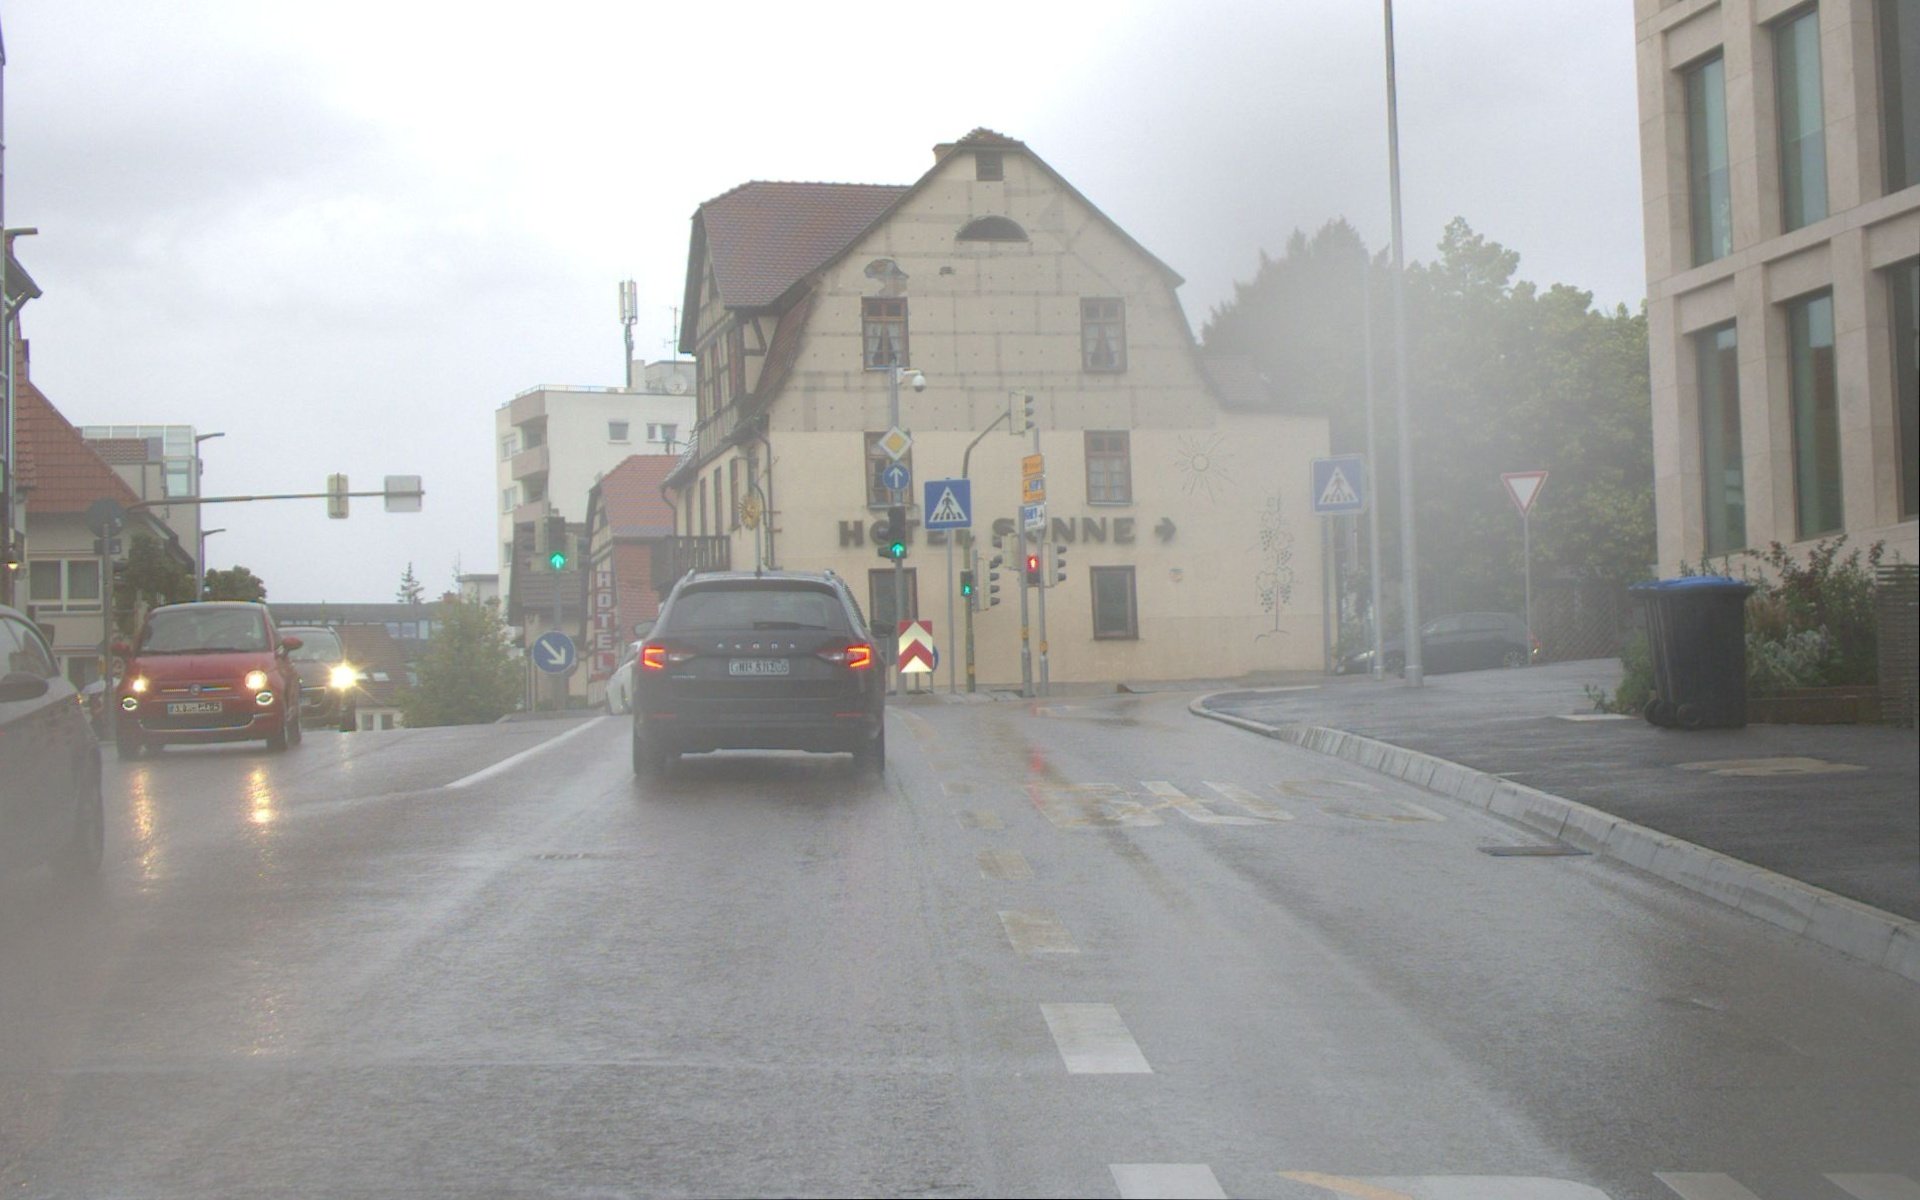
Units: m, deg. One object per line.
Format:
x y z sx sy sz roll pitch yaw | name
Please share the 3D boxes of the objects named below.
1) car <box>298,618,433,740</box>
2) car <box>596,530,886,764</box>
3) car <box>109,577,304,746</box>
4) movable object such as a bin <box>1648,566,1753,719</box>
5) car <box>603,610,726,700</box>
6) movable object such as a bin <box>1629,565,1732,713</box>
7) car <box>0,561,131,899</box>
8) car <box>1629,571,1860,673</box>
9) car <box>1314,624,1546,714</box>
-8.650 1.120 50.274 1.781 1.624 4.217 -1 0 -8 | car
-1.599 0.290 25.538 1.944 1.561 4.418 -1 1 -3 | car
-7.453 0.570 34.237 1.559 1.530 3.450 -3 1 -8 | car
5.250 0.293 24.398 0.595 1.058 0.579 -1 0 -1 | movable object such as a bin
-5.298 0.959 61.247 1.886 1.462 4.001 -3 0 -8 | car
5.265 0.278 25.141 0.595 1.058 0.579 -1 0 -1 | movable object such as a bin
-5.000 0.562 15.587 1.687 1.439 3.910 -1 1 -3 | car
16.614 0.473 72.892 4.300 1.810 1.778 -3 -5 -15 | car
9.715 1.431 71.122 4.300 1.500 1.778 -3 -5 -16 | car
